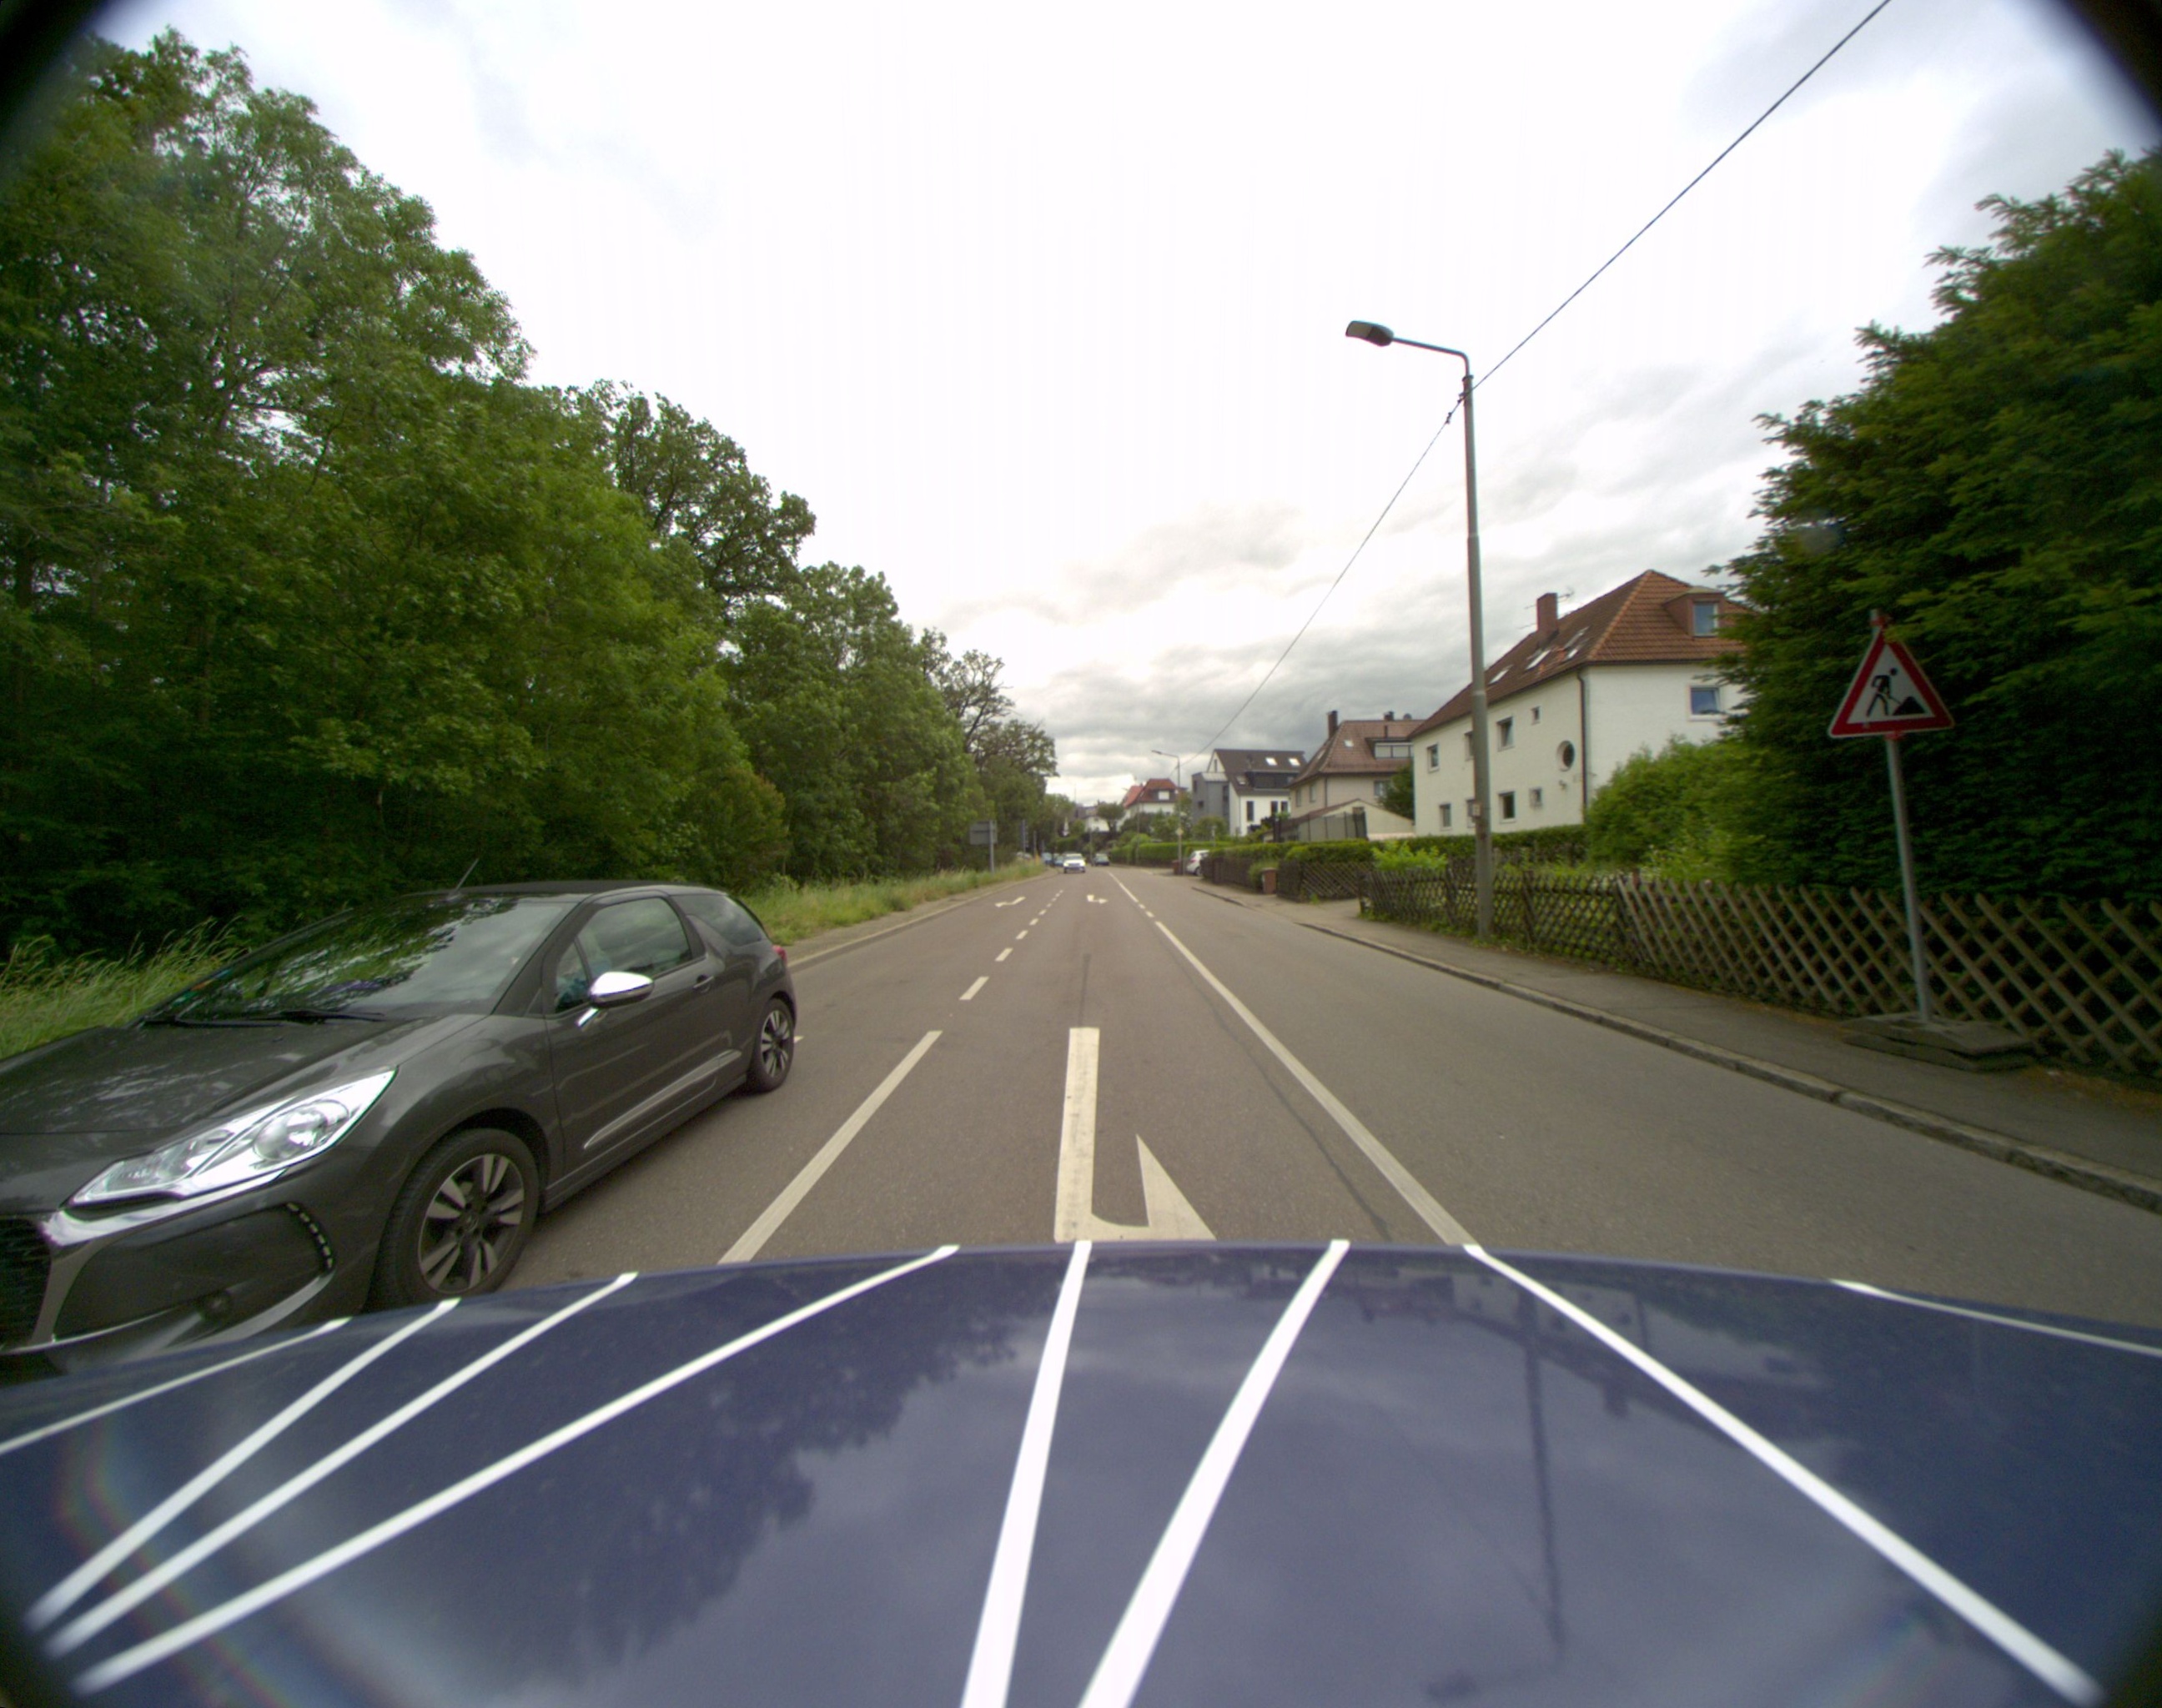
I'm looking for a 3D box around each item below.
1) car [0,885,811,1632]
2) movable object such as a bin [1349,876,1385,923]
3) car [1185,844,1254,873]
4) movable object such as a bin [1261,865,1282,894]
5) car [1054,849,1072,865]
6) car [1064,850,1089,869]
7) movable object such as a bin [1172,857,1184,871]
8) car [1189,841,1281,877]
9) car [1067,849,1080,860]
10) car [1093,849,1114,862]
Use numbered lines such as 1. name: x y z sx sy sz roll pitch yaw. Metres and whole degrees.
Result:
1. car: -2.931 1.006 3.620 1.730 1.449 3.855 -2 1 2
2. movable object such as a bin: 6.050 0.954 16.096 0.551 0.933 0.537 -1 1 3
3. car: 8.677 0.276 47.803 3.997 1.584 1.718 -4 1 1
4. movable object such as a bin: 6.449 0.861 25.776 0.634 0.908 0.561 -3 1 11
5. car: -2.246 0.339 95.974 1.998 2.002 4.000 -1 1 1
6. car: -0.359 0.458 66.218 1.998 1.565 4.000 -1 1 3
7. movable object such as a bin: 6.517 0.675 50.884 0.690 0.948 0.572 -1 1 -1
8. car: 8.557 0.274 42.587 4.682 1.660 1.882 -4 1 0
9. car: -1.163 0.026 110.430 1.818 1.590 3.955 -1 1 -2
10. car: 2.754 0.143 93.392 1.840 1.514 3.996 -2 1 -9
